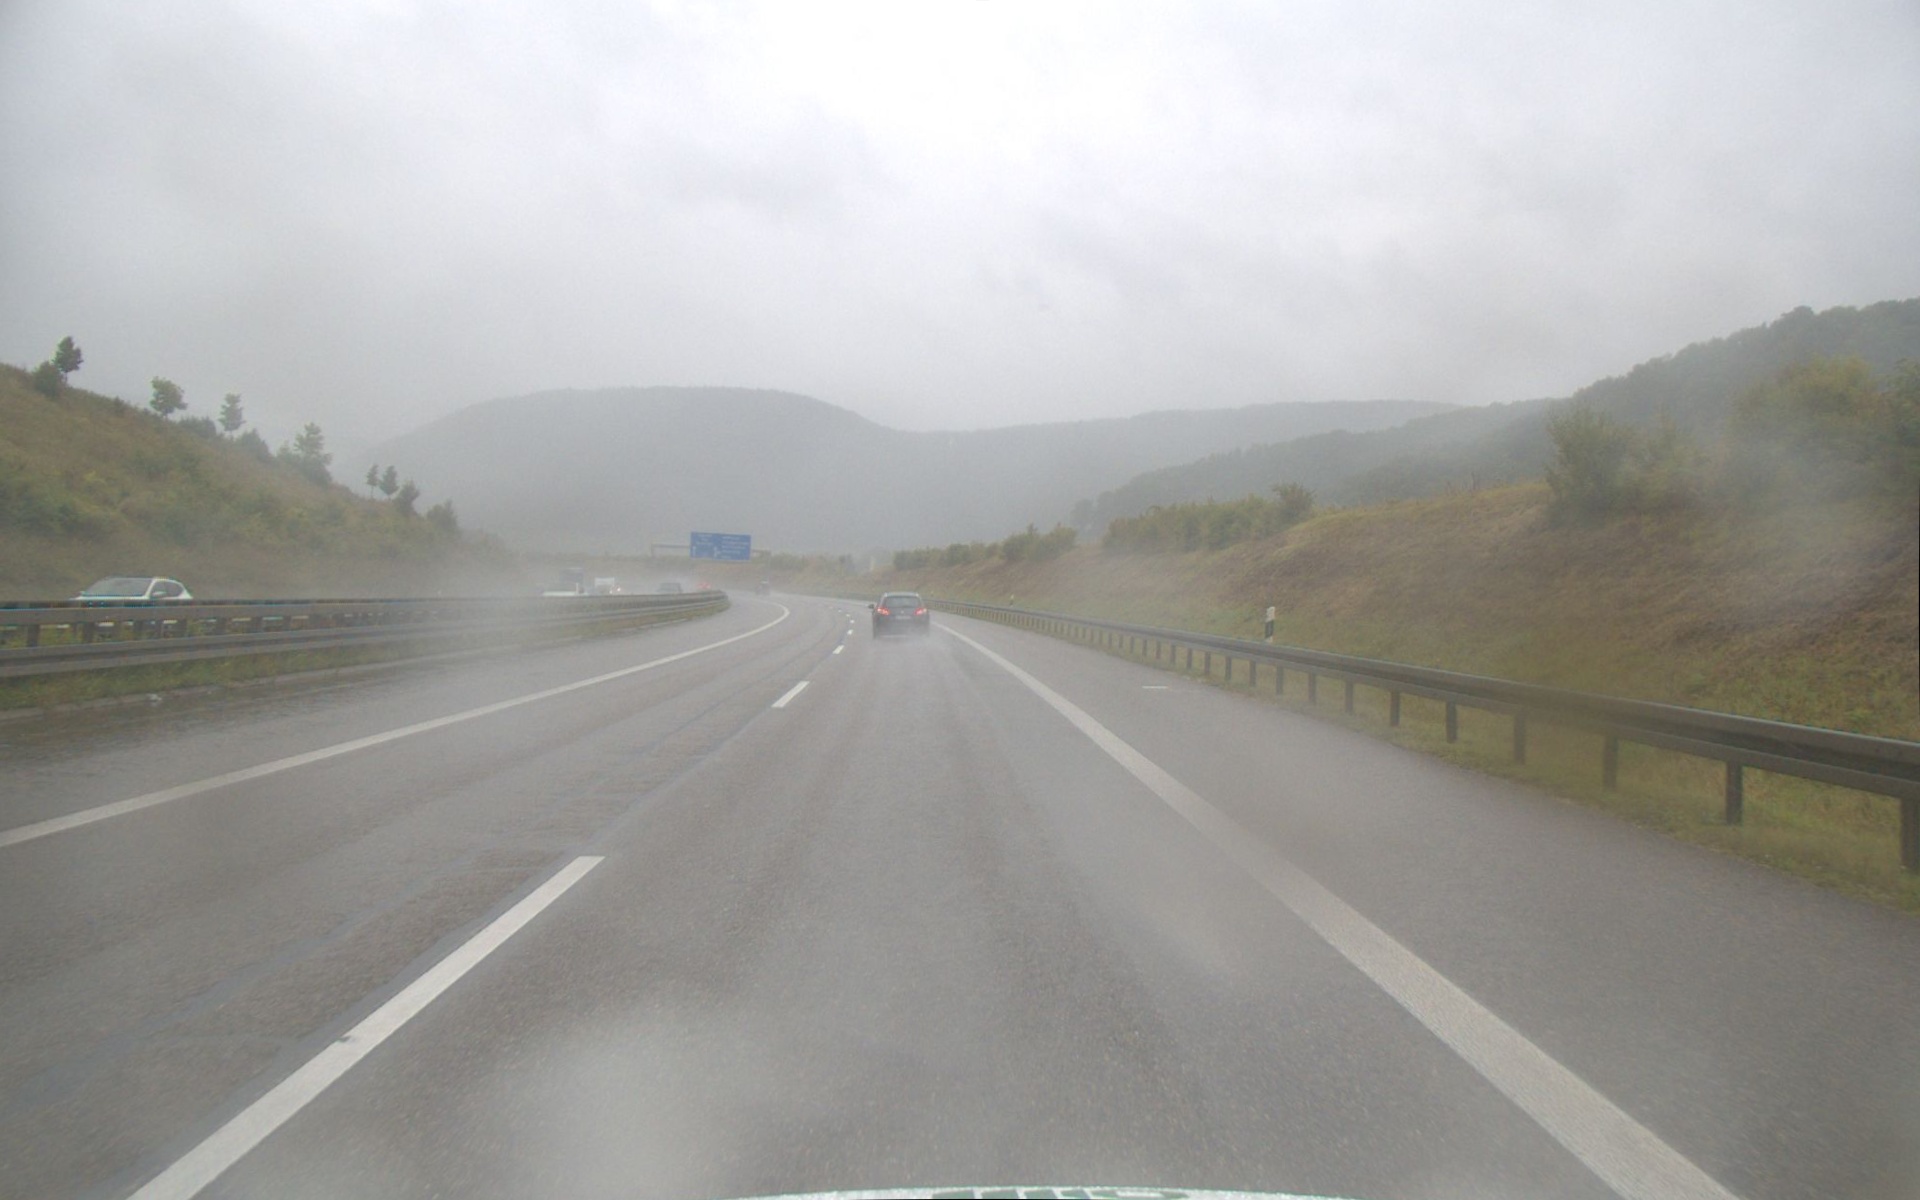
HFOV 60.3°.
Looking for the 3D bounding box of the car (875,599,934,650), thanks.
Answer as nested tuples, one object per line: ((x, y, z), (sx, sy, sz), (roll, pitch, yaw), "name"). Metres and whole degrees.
((-1.777, 0.739, 51.773), (1.646, 1.498, 3.810), (1, 0, -5), "car")

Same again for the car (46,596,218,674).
((-20.043, 0.800, 40.263), (1.953, 1.776, 4.657), (0, 0, -2), "car")
